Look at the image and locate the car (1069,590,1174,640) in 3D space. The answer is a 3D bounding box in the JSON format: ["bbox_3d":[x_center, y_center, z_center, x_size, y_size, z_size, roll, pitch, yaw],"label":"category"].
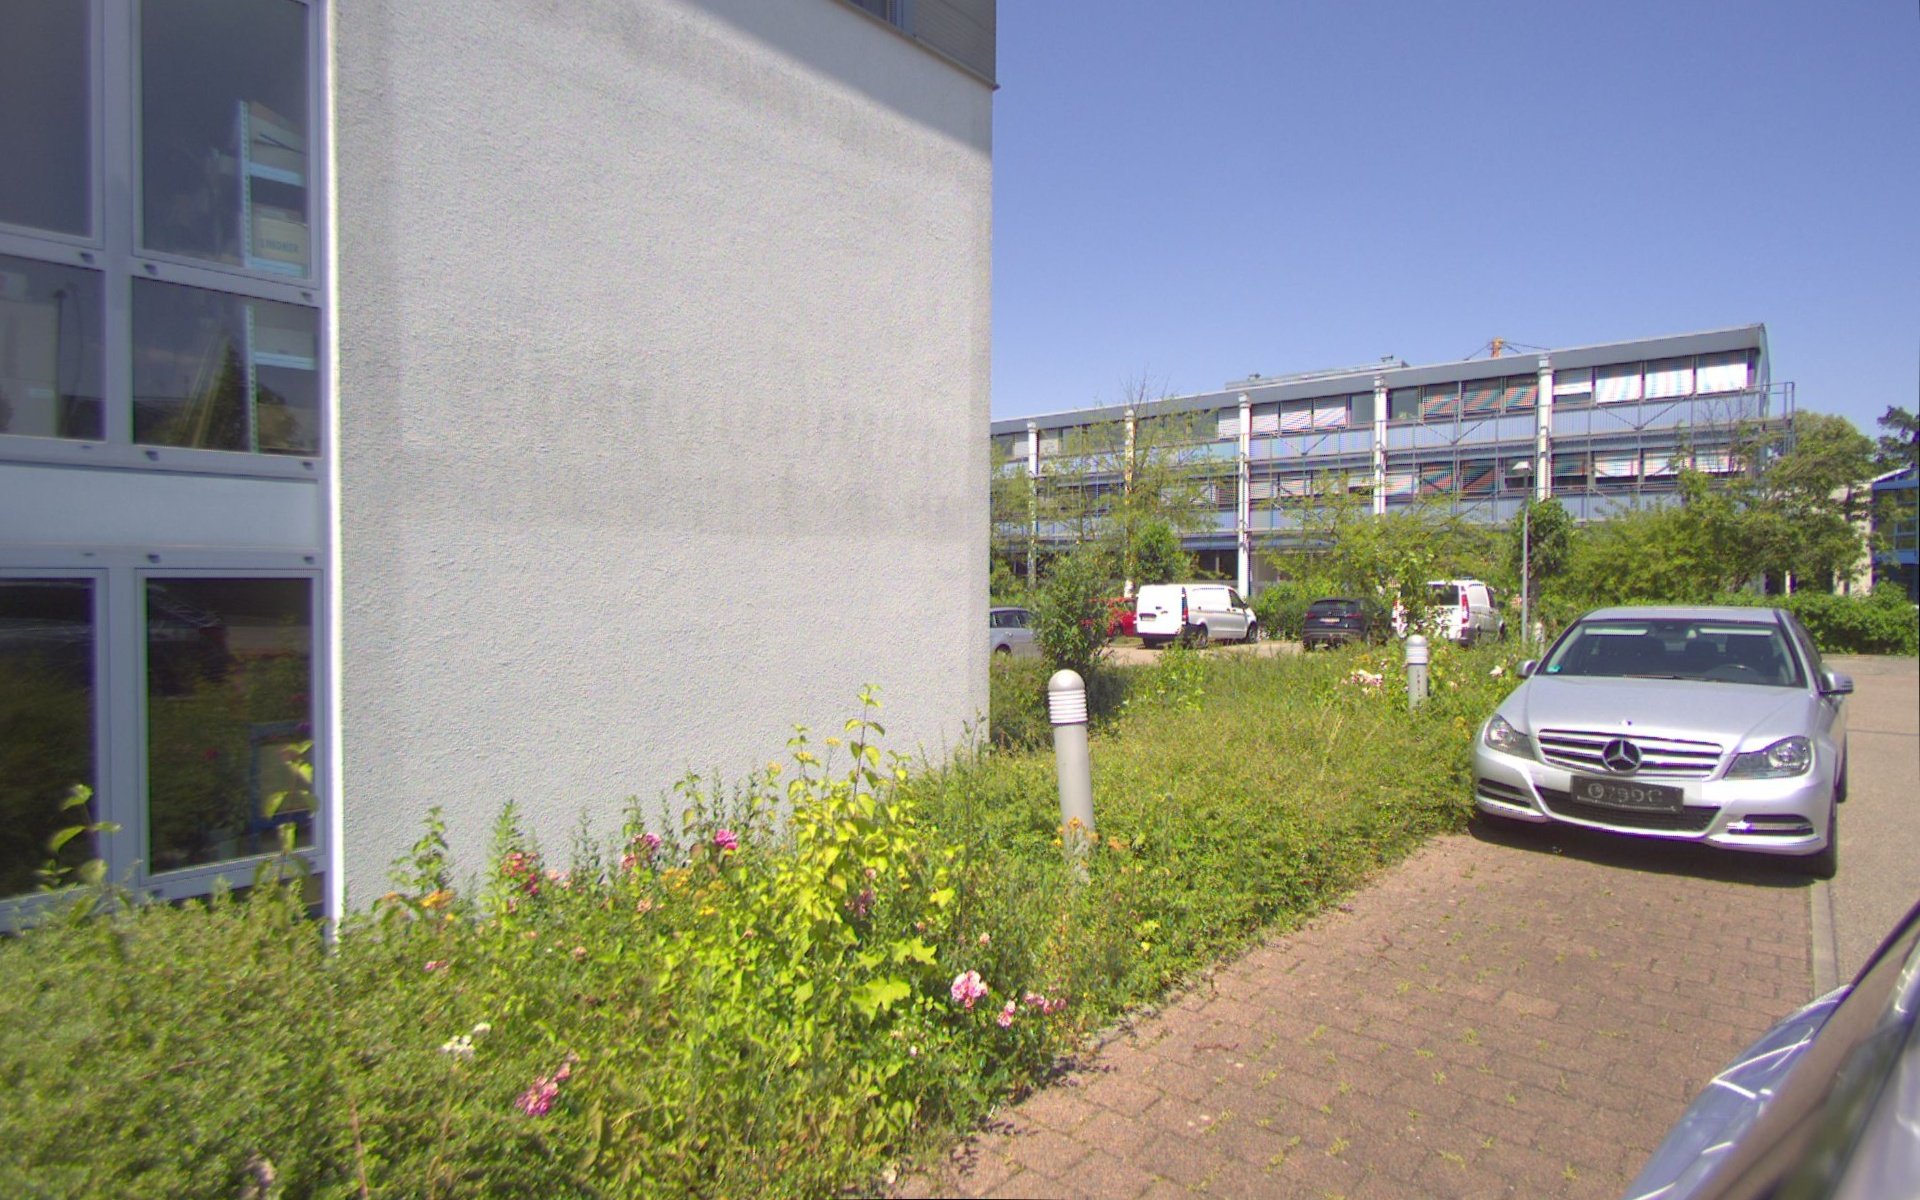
[{"bbox_3d":[5.437,0.469,33.798,1.618,1.506,3.862,-1,1,42],"label":"car"}]

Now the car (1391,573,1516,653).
[{"bbox_3d":[12.799,0.277,26.100,1.859,1.883,4.611,-1,0,39],"label":"car"}]

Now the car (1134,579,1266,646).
[{"bbox_3d":[7.392,0.316,30.829,1.849,1.879,4.861,-1,1,42],"label":"car"}]

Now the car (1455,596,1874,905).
[{"bbox_3d":[5.099,0.707,7.038,1.799,1.415,4.351,0,1,43],"label":"car"}]

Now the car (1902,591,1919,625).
[{"bbox_3d":[49.290,0.388,51.277,1.826,1.586,3.948,0,2,37],"label":"car"}]

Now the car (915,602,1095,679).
[{"bbox_3d":[1.118,0.844,23.023,1.848,1.539,4.364,-1,0,40],"label":"car"}]

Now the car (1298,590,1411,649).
[{"bbox_3d":[11.041,0.492,28.172,1.731,1.502,4.138,-1,0,39],"label":"car"}]

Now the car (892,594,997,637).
[{"bbox_3d":[-0.544,0.556,38.421,1.733,1.502,4.022,-1,0,43],"label":"car"}]
